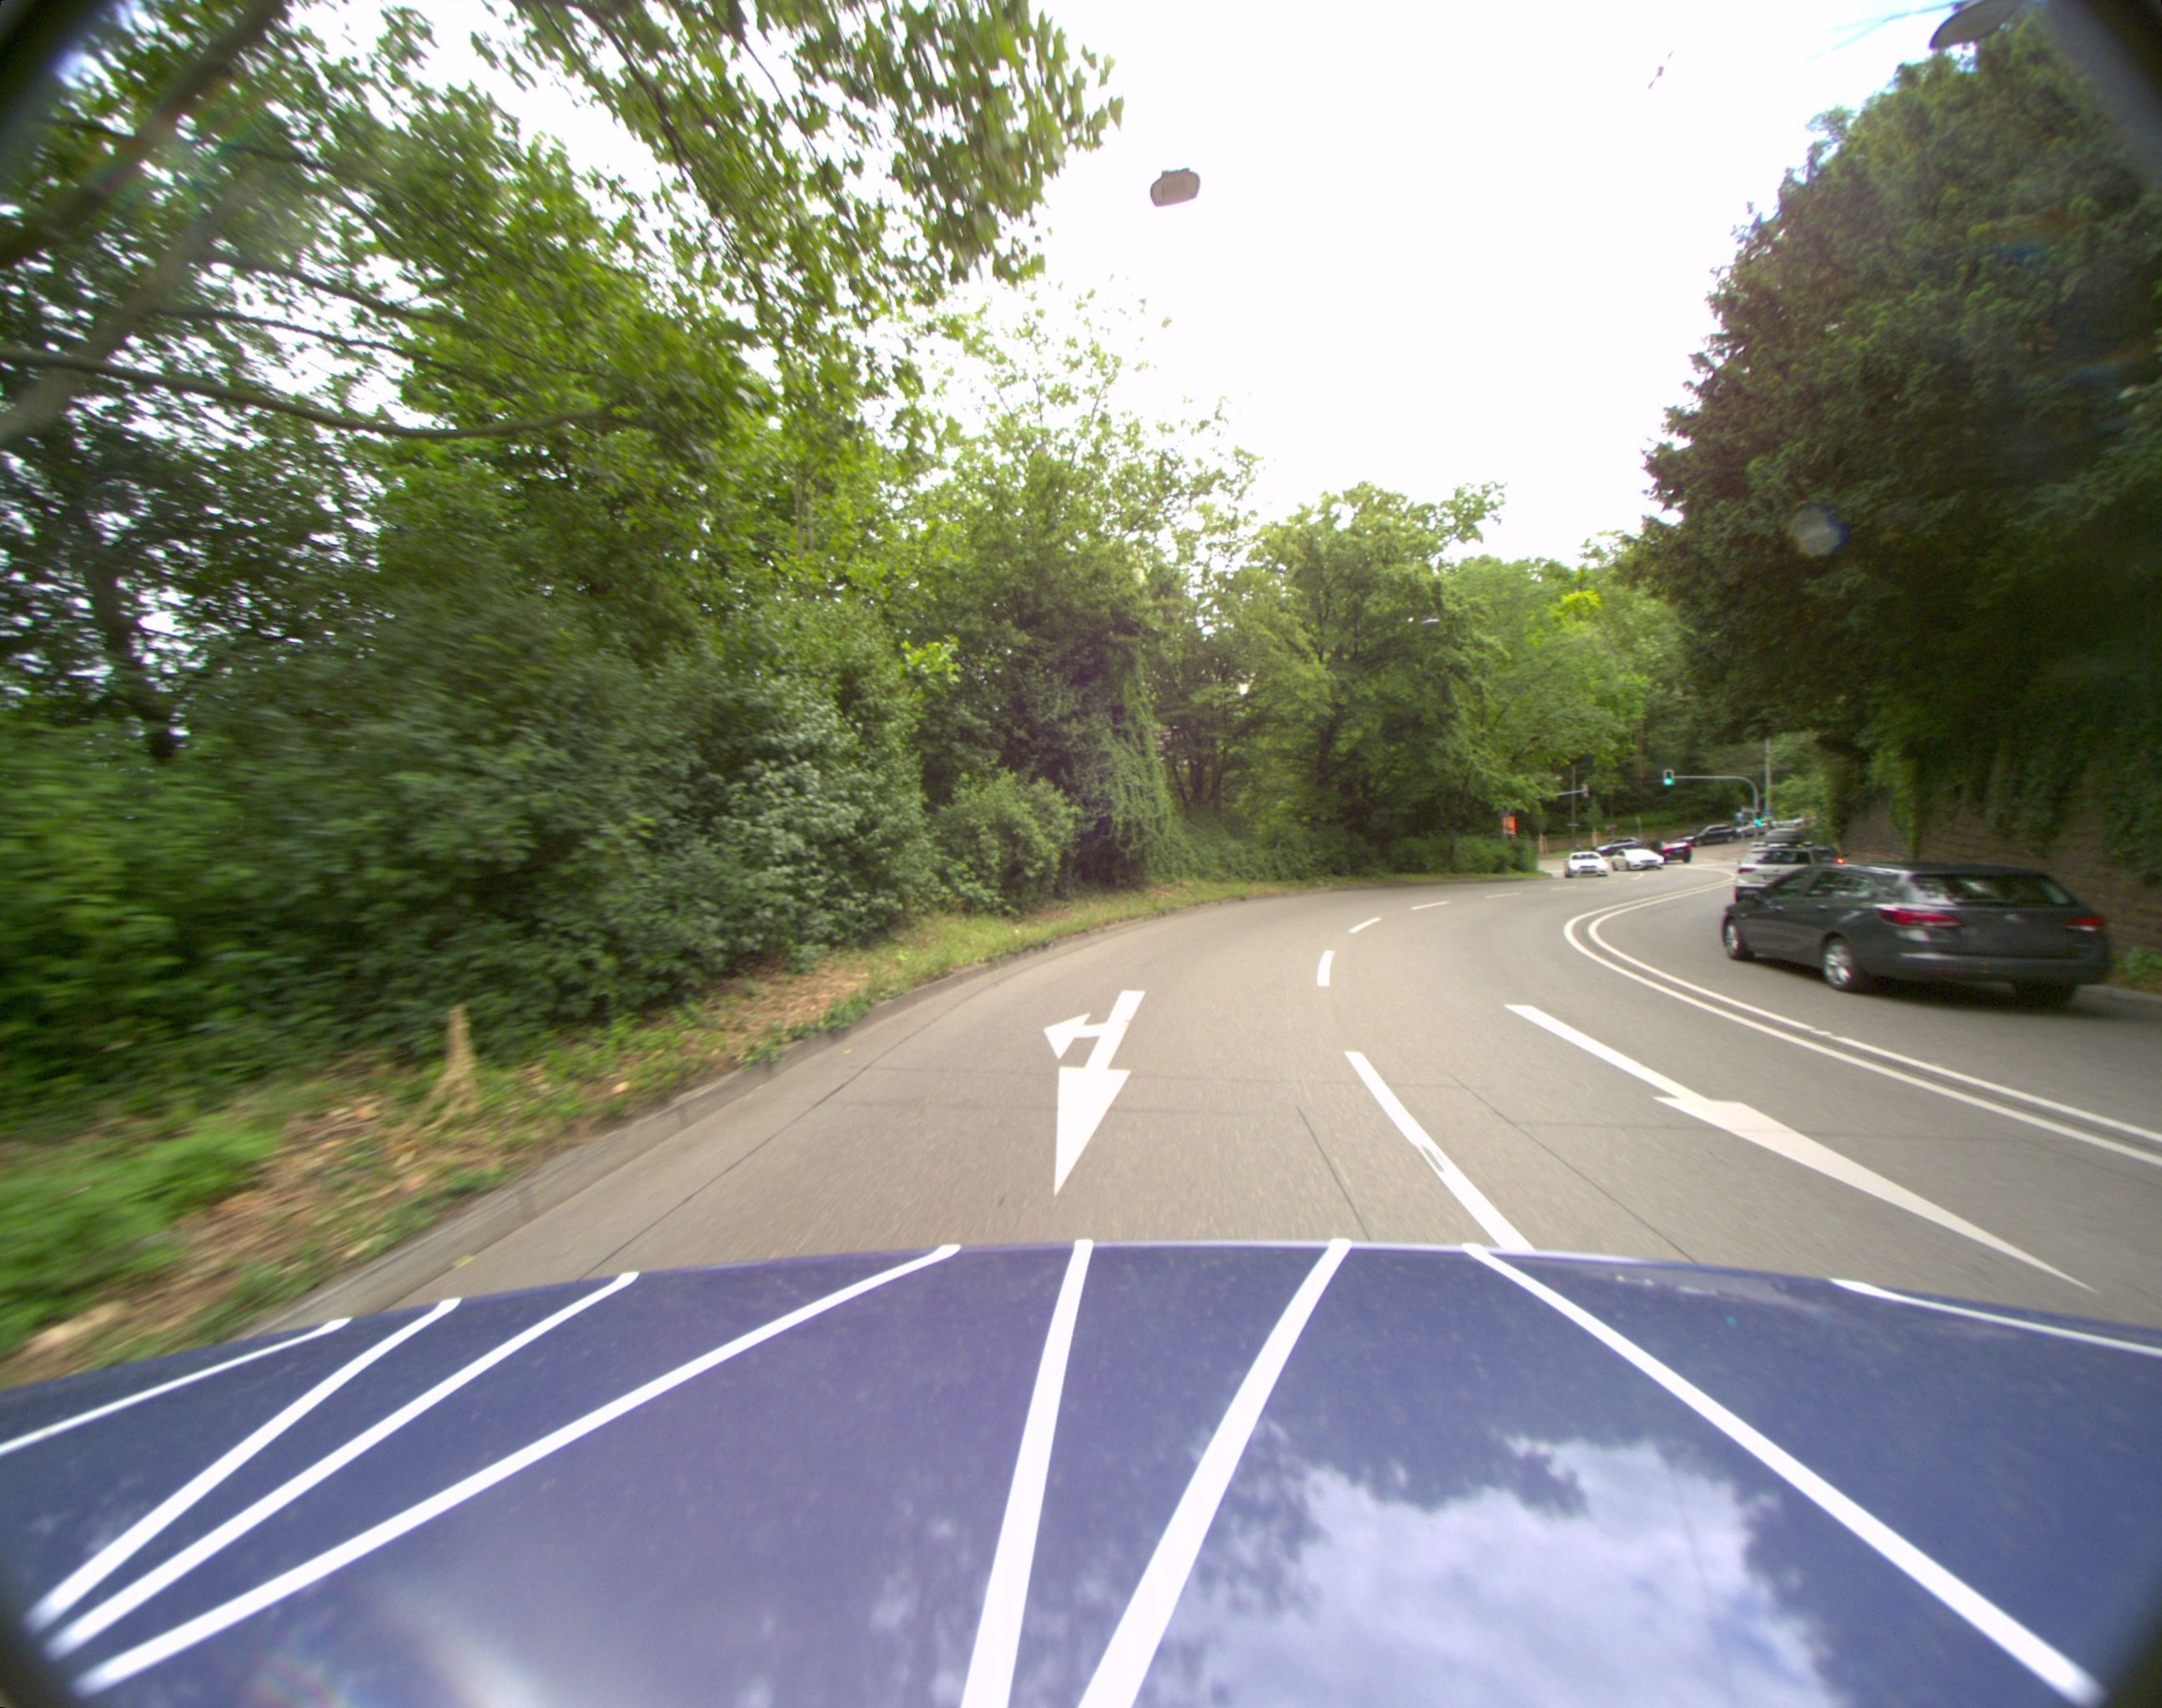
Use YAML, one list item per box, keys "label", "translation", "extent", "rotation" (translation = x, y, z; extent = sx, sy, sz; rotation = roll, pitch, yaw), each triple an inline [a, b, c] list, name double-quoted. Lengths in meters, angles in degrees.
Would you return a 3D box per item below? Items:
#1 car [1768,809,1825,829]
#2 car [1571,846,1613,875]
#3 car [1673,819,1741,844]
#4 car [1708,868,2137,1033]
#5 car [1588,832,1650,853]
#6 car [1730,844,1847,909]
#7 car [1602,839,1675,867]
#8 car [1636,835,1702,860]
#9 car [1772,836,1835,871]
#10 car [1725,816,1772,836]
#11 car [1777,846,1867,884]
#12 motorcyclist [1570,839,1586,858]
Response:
- label: "car"
  translation: [67.385, -3.303, 71.569]
  extent: [4.022, 1.322, 1.627]
  rotation: [-7, 4, -6]
- label: "car"
  translation: [28.989, 0.346, 43.166]
  extent: [1.912, 1.542, 4.535]
  rotation: [0, 1, 33]
- label: "car"
  translation: [55.333, -1.995, 67.201]
  extent: [4.541, 1.675, 1.807]
  rotation: [-7, 1, -3]
- label: "car"
  translation: [9.652, 0.933, 9.300]
  extent: [1.659, 1.431, 4.301]
  rotation: [0, 0, 19]
- label: "car"
  translation: [47.894, -0.993, 67.691]
  extent: [3.994, 1.350, 1.755]
  rotation: [-7, 1, 12]
- label: "car"
  translation: [20.098, 0.554, 21.528]
  extent: [4.395, 1.643, 1.770]
  rotation: [-1, 1, -39]
- label: "car"
  translation: [35.464, -0.042, 48.518]
  extent: [1.915, 1.469, 4.531]
  rotation: [-6, -2, 11]
- label: "car"
  translation: [41.382, -0.487, 53.621]
  extent: [1.853, 1.639, 4.514]
  rotation: [-2, 0, 11]
- label: "car"
  translation: [35.774, -0.083, 37.589]
  extent: [4.639, 1.588, 1.862]
  rotation: [-2, 2, -42]
- label: "car"
  translation: [61.869, -2.580, 70.435]
  extent: [3.265, 1.440, 1.504]
  rotation: [-8, 4, -8]
- label: "car"
  translation: [29.034, 0.389, 29.738]
  extent: [3.967, 1.332, 1.771]
  rotation: [-1, 2, -35]
- label: "motorcyclist"
  translation: [40.908, -0.427, 62.570]
  extent: [0.748, 1.520, 1.096]
  rotation: [-1, 1, 15]
